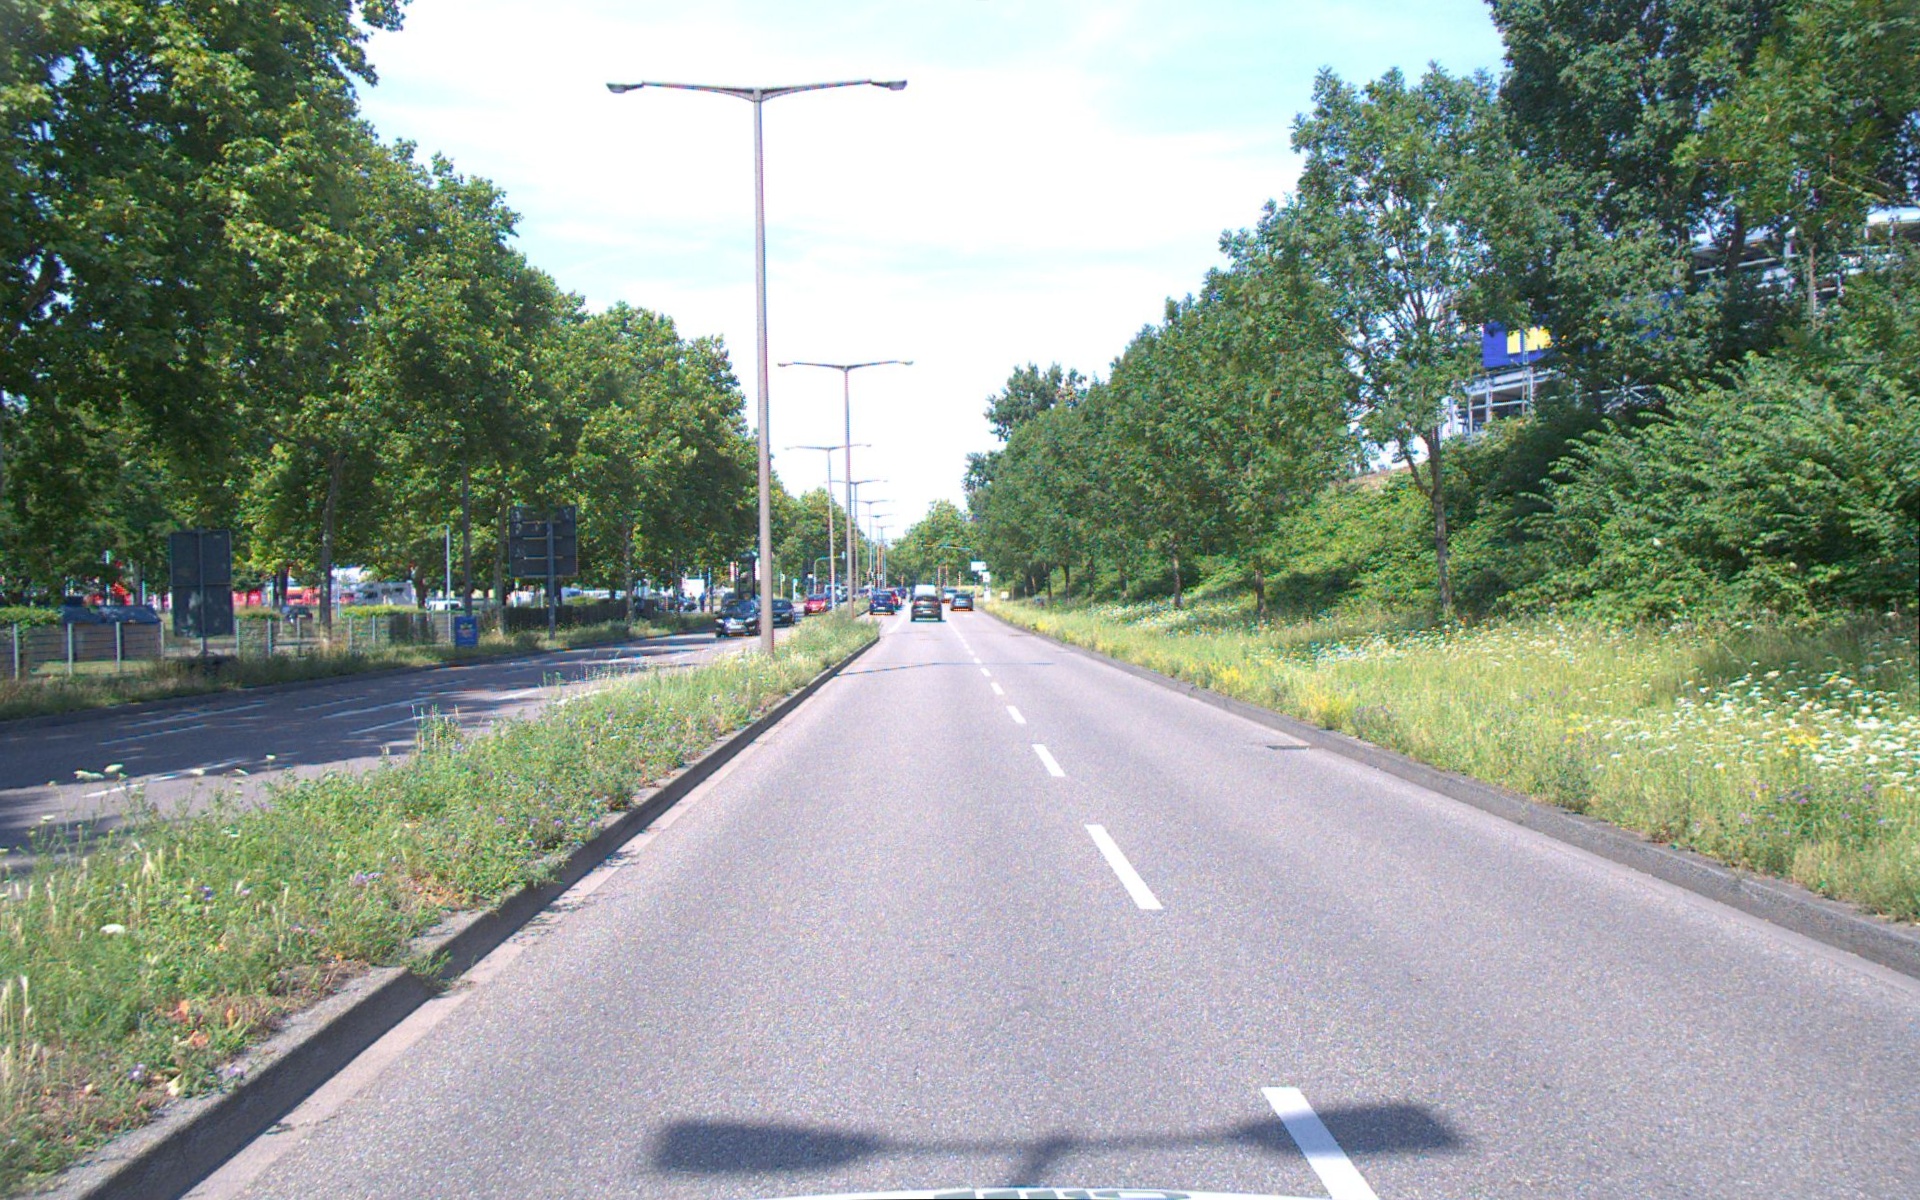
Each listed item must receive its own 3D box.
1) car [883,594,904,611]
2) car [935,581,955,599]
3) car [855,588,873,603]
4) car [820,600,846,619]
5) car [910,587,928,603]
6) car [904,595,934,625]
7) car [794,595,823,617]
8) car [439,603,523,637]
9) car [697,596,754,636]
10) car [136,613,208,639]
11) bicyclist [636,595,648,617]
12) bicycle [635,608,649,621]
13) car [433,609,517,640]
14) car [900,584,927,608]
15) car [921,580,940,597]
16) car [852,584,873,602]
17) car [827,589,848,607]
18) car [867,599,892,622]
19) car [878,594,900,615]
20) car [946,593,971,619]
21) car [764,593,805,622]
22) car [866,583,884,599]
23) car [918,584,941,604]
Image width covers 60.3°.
[{"bbox_3d":[-5.793,0.201,144.066,1.730,1.505,4.134,1,0,-2],"label":"car"},{"bbox_3d":[-1.588,-0.994,169.653,1.953,1.738,4.262,-1,0,-1],"label":"car"},{"bbox_3d":[-12.198,-0.580,210.759,1.952,1.806,4.001,-1,0,1],"label":"car"},{"bbox_3d":[-10.313,0.747,134.610,1.802,1.504,4.164,-1,0,-2],"label":"car"},{"bbox_3d":[-4.275,-0.509,172.576,1.895,1.676,3.999,-1,0,-1],"label":"car"},{"bbox_3d":[-2.410,0.554,97.424,1.701,1.562,4.000,0,3,-1],"label":"car"},{"bbox_3d":[-11.152,0.430,121.708,1.727,1.488,3.999,-2,0,-1],"label":"car"},{"bbox_3d":[-26.229,1.100,90.693,3.904,1.855,2.157,0,-1,2],"label":"car"},{"bbox_3d":[-9.381,0.621,66.523,1.790,1.493,4.985,-1,0,-3],"label":"car"},{"bbox_3d":[-50.376,1.667,105.759,3.902,1.530,1.807,0,2,15],"label":"car"},{"bbox_3d":[-22.352,0.445,116.166,0.667,1.511,0.941,-1,0,-1],"label":"bicyclist"},{"bbox_3d":[-22.340,0.992,116.192,0.675,0.881,1.926,-1,0,-1],"label":"bicycle"},{"bbox_3d":[-25.624,1.297,87.498,3.906,1.490,1.772,-2,0,-1],"label":"car"},{"bbox_3d":[-3.451,-0.331,123.968,1.953,1.713,3.999,-1,1,-2],"label":"car"},{"bbox_3d":[-3.523,-1.349,195.672,1.954,2.049,3.996,-1,0,-5],"label":"car"},{"bbox_3d":[-9.777,-0.694,165.958,1.953,1.738,4.262,-1,0,-1],"label":"car"},{"bbox_3d":[-13.601,-0.275,183.192,2.074,1.916,5.417,-2,0,-2],"label":"car"},{"bbox_3d":[-5.586,0.716,114.926,1.593,1.509,4.047,1,0,-2],"label":"car"},{"bbox_3d":[-5.798,0.365,135.083,1.746,1.620,4.592,0,0,-2],"label":"car"},{"bbox_3d":[-0.120,0.496,132.273,1.977,1.869,4.000,0,2,-1],"label":"car"},{"bbox_3d":[-9.427,0.394,89.134,1.736,1.493,4.670,-2,0,-1],"label":"car"},{"bbox_3d":[-10.445,-1.099,204.361,1.953,1.892,4.000,-1,0,0],"label":"car"},{"bbox_3d":[-2.655,-0.542,145.290,1.953,1.738,4.262,-1,0,-1],"label":"car"}]
